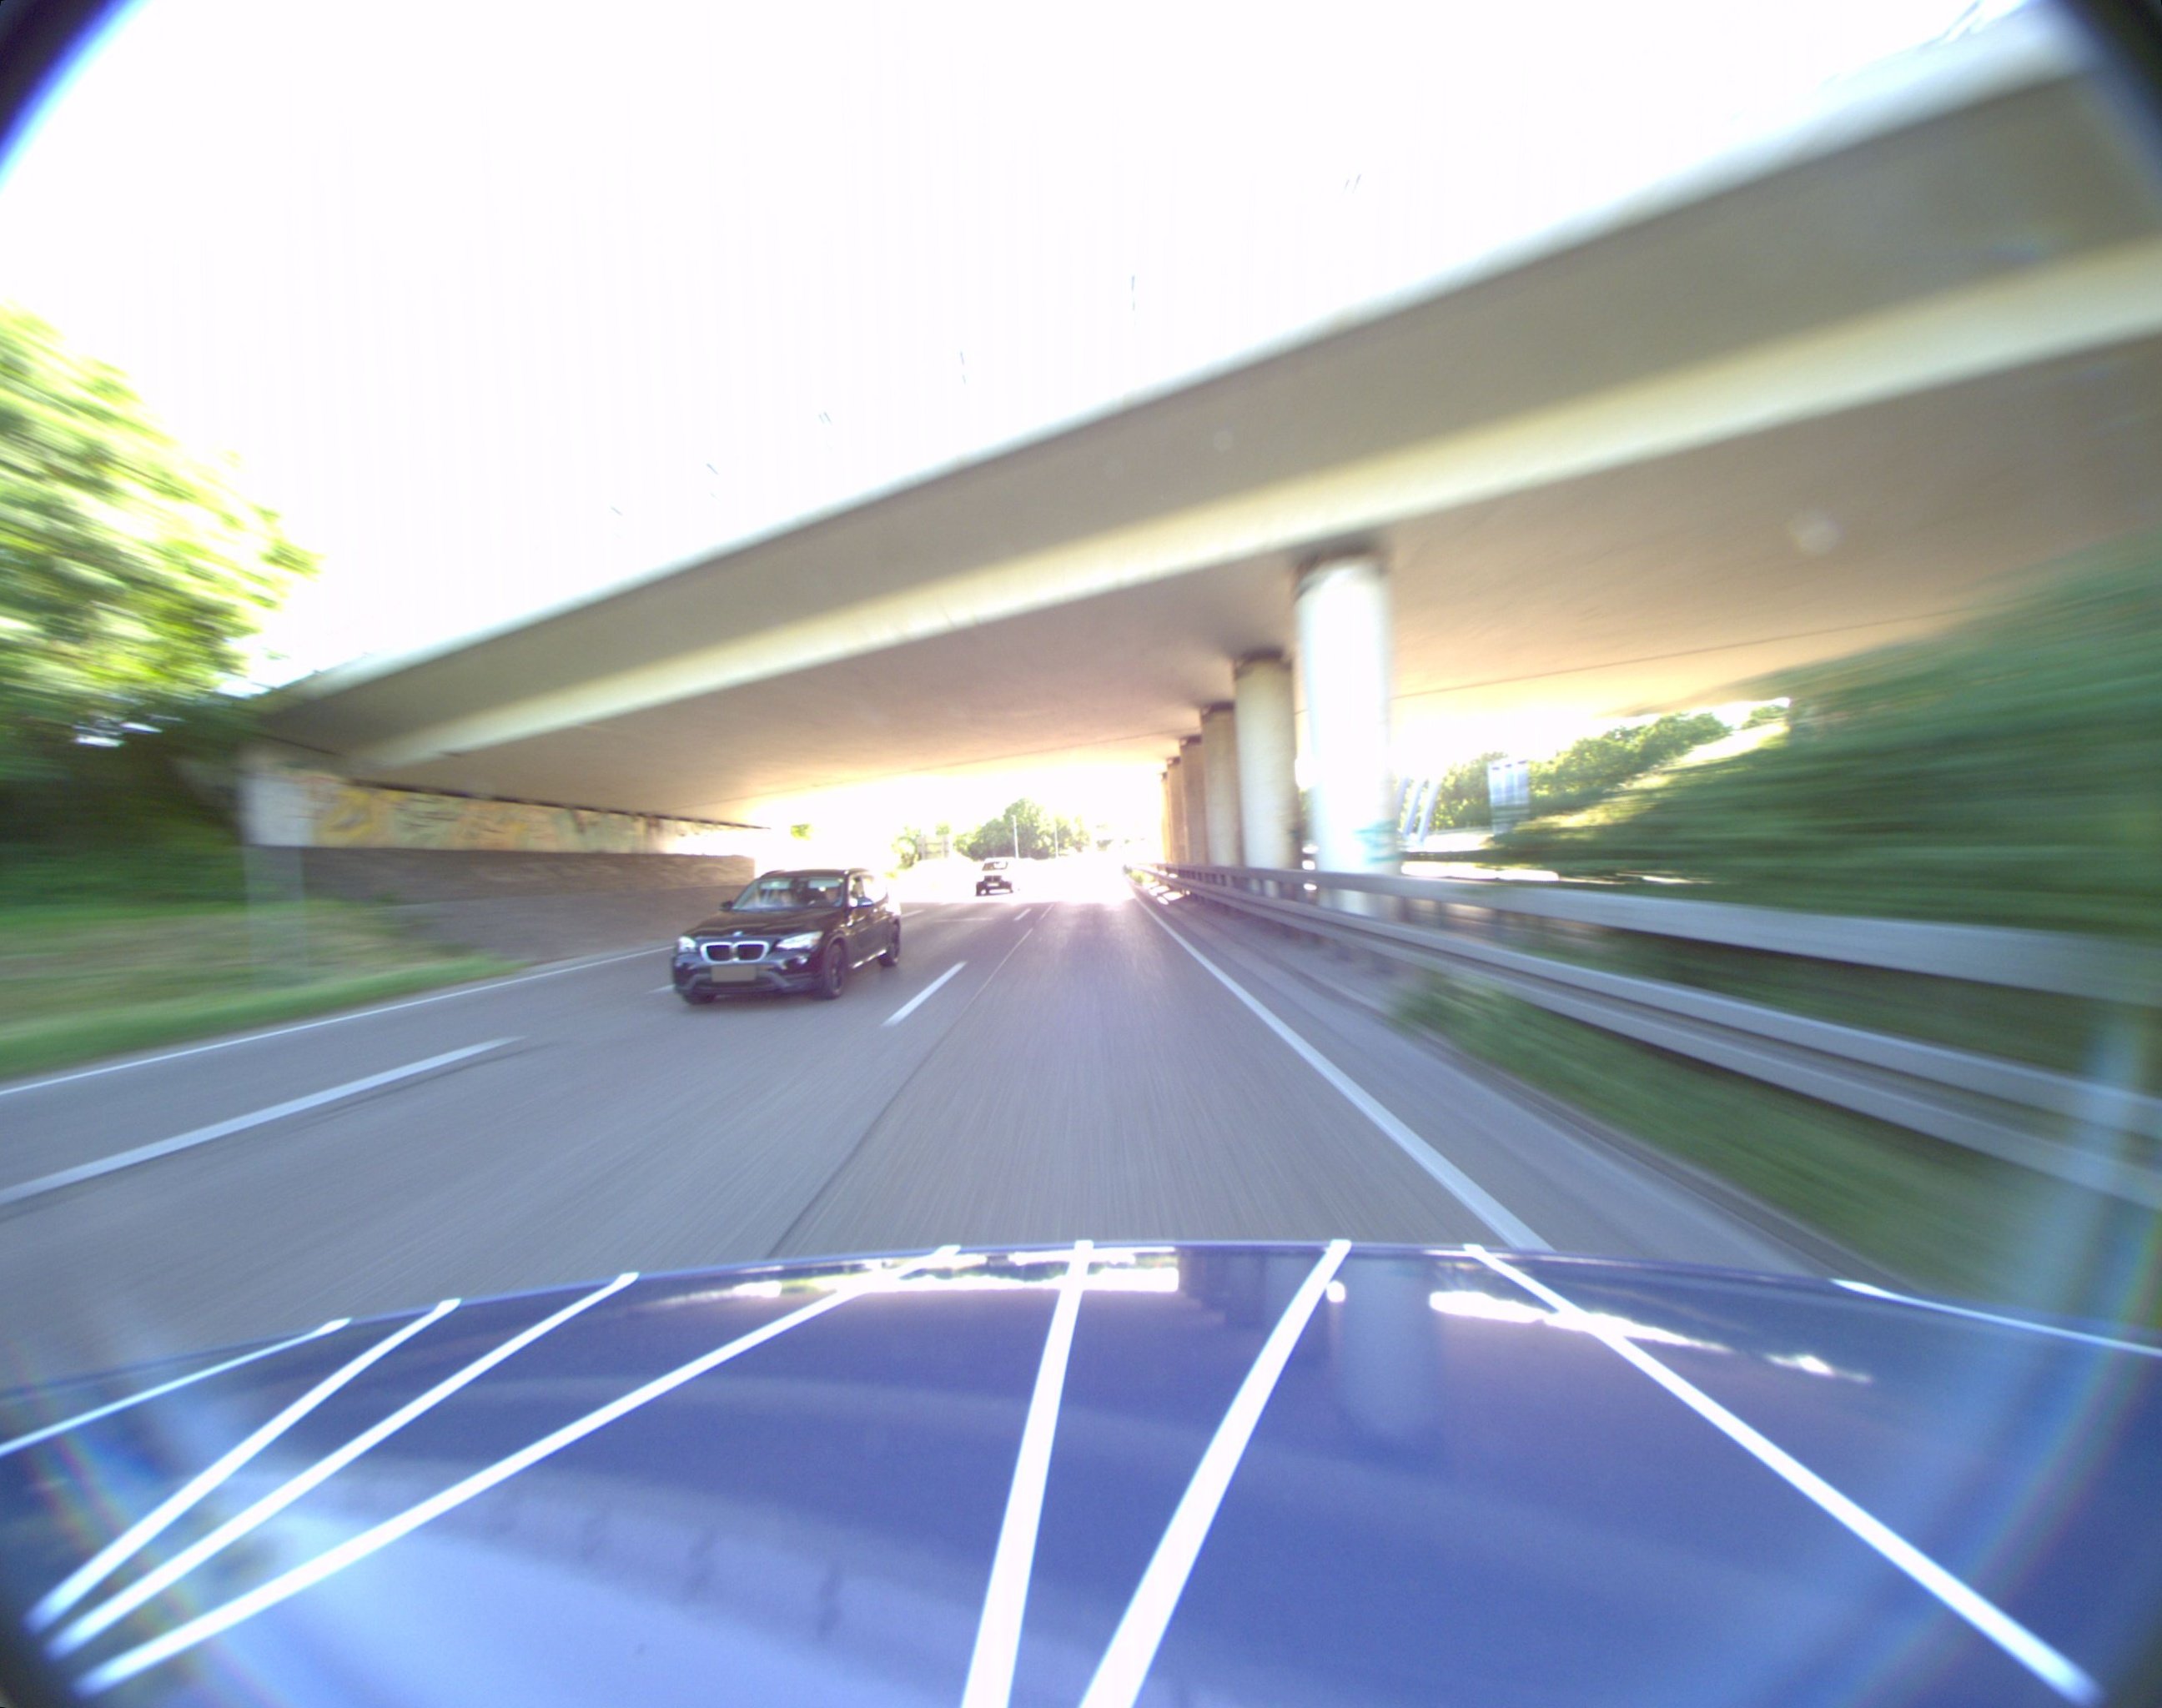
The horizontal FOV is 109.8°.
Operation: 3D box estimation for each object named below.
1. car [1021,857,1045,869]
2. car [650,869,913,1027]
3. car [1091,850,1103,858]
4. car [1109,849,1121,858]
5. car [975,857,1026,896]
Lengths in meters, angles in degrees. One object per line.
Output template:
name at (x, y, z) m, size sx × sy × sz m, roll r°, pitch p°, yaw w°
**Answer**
car at (-7.235, 1.344, 114.837) m, size 1.872 × 1.681 × 3.991 m, roll -3°, pitch 0°, yaw -32°
car at (-3.666, 1.040, 10.324) m, size 1.703 × 1.497 × 4.578 m, roll -2°, pitch 1°, yaw 0°
car at (2.853, -0.017, 136.652) m, size 1.682 × 1.412 × 3.671 m, roll -3°, pitch 0°, yaw 8°
car at (5.777, -0.140, 129.289) m, size 1.724 × 1.412 × 3.671 m, roll -3°, pitch 0°, yaw 7°
car at (-3.767, 1.012, 36.216) m, size 1.759 × 1.564 × 4.520 m, roll -2°, pitch 1°, yaw 1°
